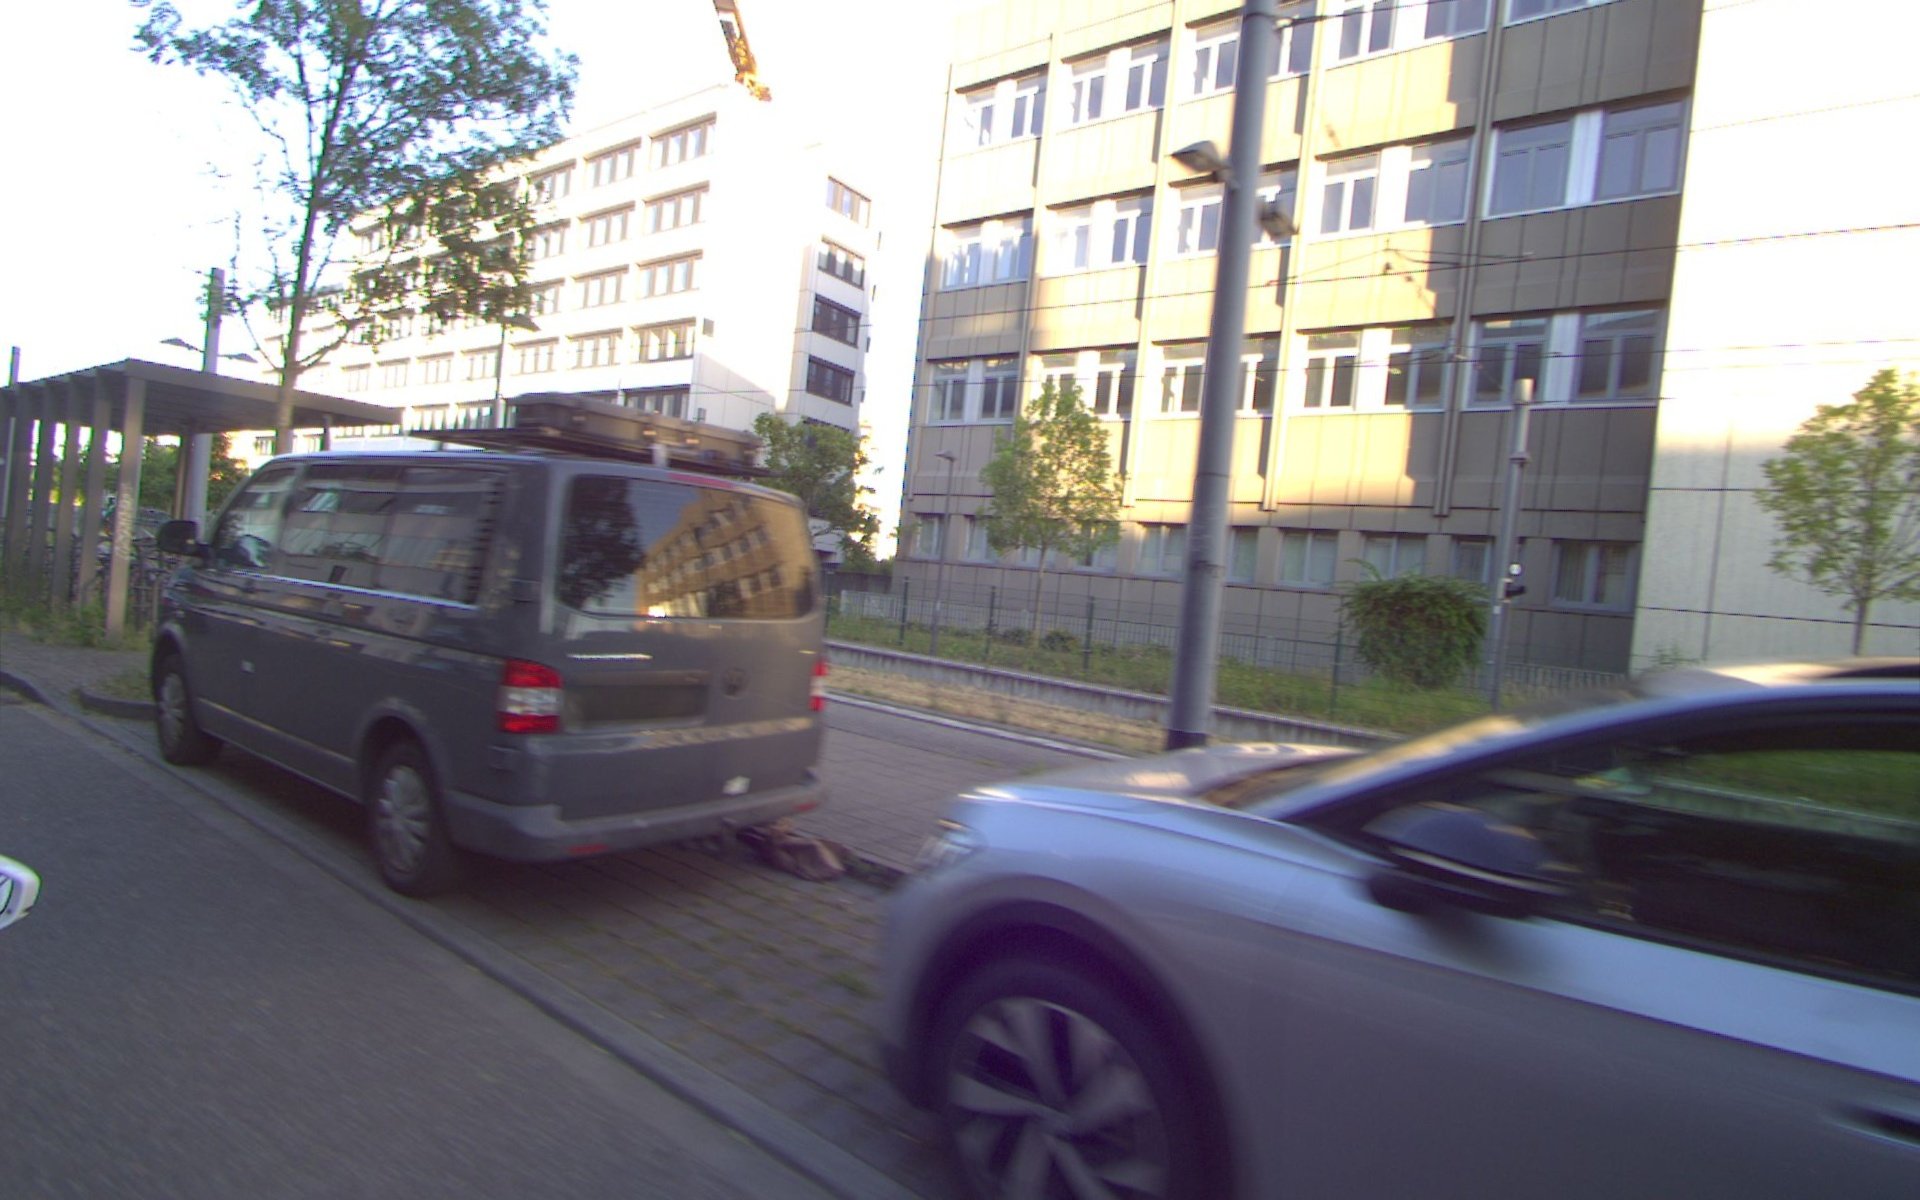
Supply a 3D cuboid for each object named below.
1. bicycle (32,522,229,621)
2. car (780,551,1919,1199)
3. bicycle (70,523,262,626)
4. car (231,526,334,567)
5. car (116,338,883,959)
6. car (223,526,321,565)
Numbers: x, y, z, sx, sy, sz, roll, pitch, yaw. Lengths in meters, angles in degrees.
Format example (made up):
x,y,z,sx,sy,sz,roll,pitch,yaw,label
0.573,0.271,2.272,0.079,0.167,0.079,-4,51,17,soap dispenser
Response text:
x,y,z,sx,sy,sz,roll,pitch,yaw,label
-10.398,-0.326,12.672,0.480,1.080,1.805,6,0,36,bicycle
1.800,0.885,2.081,4.413,1.601,1.705,6,2,38,car
-9.483,-0.277,12.083,0.415,1.080,1.718,6,0,36,bicycle
-34.818,-2.729,51.786,1.567,1.414,3.992,7,-2,35,car
-2.865,0.025,5.672,4.663,2.205,1.802,6,2,36,car
-37.394,-2.942,54.780,1.567,1.414,3.992,7,-2,35,car
